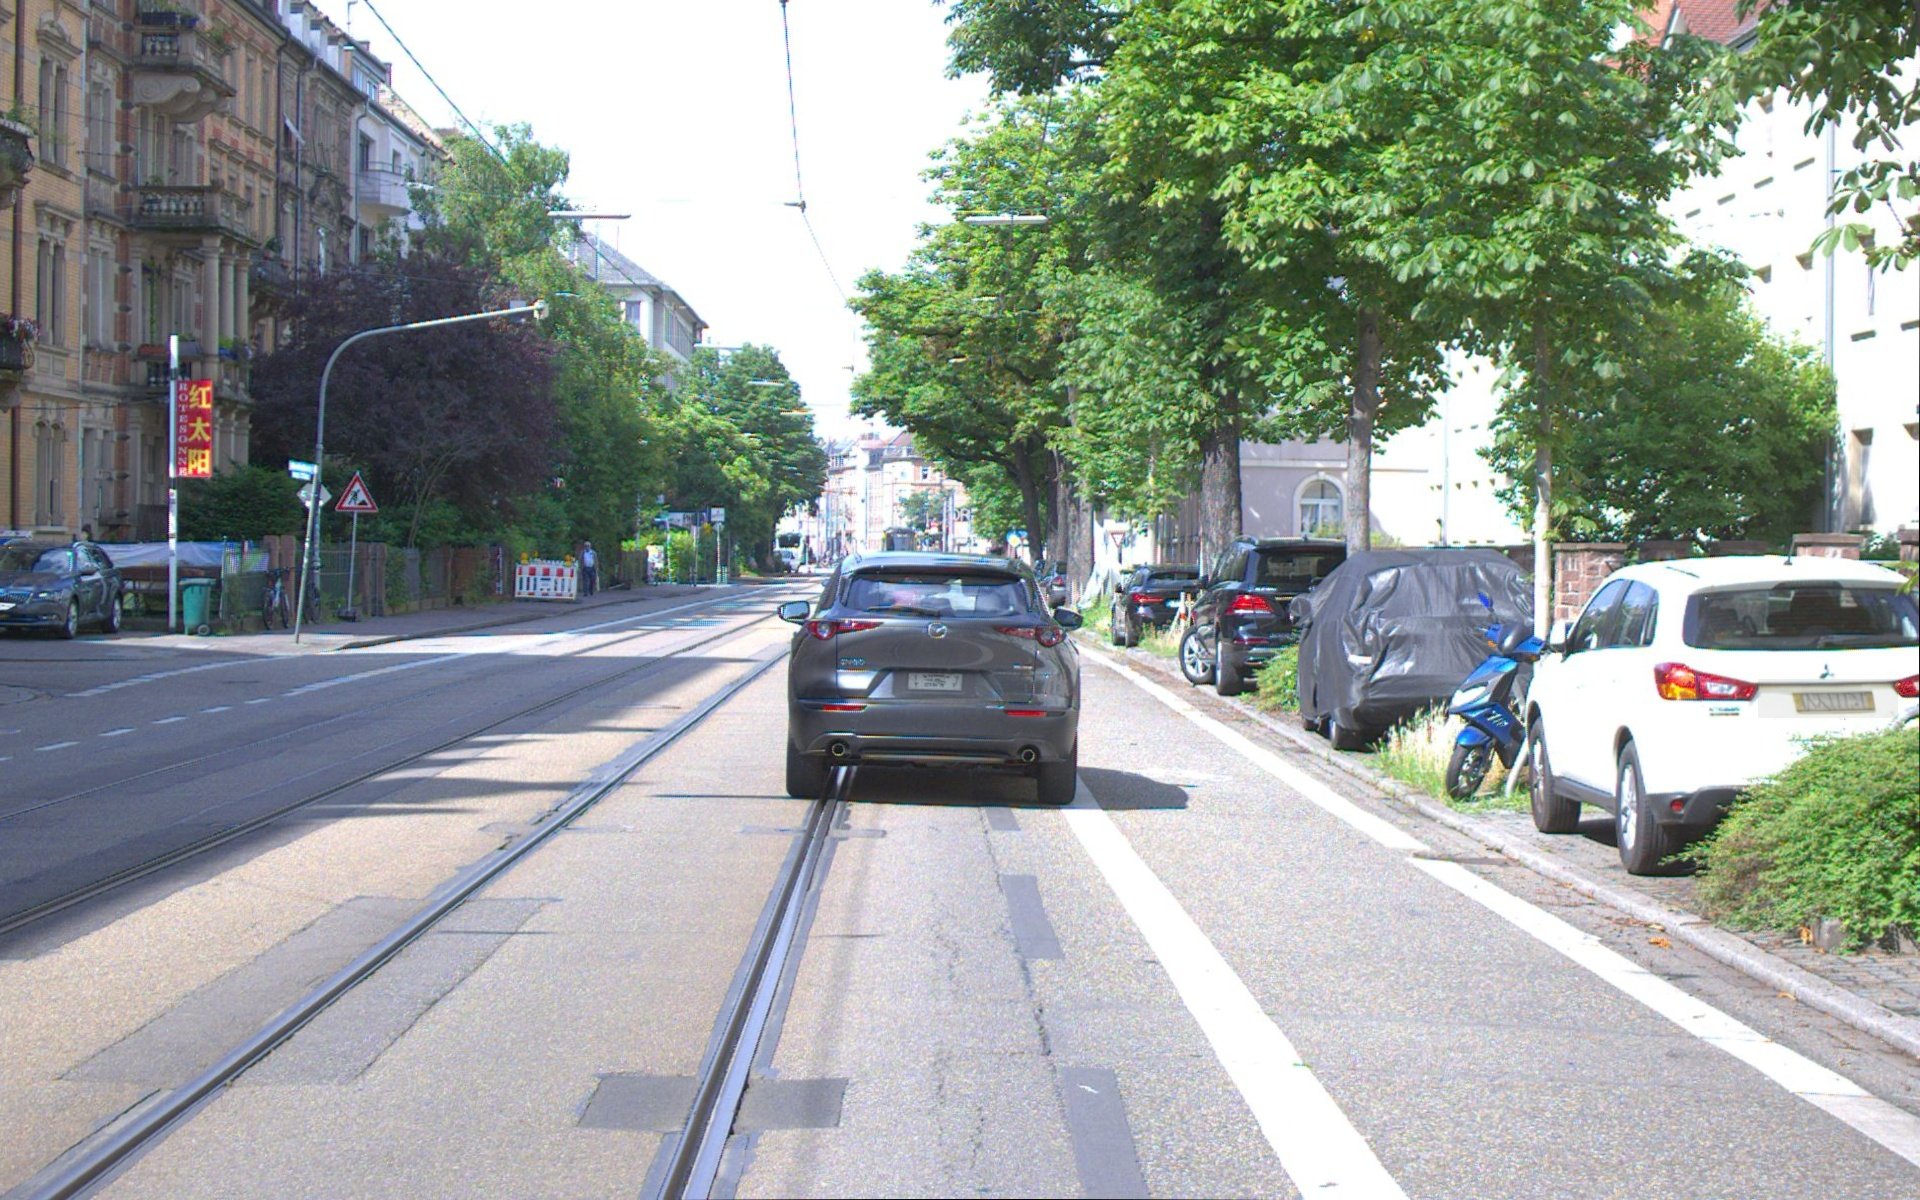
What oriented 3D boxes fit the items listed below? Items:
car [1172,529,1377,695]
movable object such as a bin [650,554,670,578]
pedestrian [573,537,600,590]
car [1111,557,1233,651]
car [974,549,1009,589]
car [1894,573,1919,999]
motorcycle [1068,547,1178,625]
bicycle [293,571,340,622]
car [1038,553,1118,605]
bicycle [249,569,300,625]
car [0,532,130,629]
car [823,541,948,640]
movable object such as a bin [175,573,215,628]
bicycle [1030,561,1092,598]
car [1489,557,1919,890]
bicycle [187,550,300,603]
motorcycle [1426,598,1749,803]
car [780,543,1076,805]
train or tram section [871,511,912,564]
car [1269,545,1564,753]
[{"bbox_3d":[3.543,0.083,39.525,1.827,1.776,4.733,1,1,-1],"label":"car"},{"bbox_3d":[-12.685,-1.446,145.394,0.745,0.984,1.114,3,0,-1],"label":"movable object such as a bin"},{"bbox_3d":[-12.137,-1.180,111.804,0.822,1.700,0.891,1,0,-4],"label":"pedestrian"},{"bbox_3d":[3.614,0.041,59.260,1.706,1.474,4.197,3,0,-1],"label":"car"},{"bbox_3d":[1.573,-1.564,173.456,1.720,1.962,4.207,1,1,0],"label":"car"},{"bbox_3d":[4.316,0.708,10.434,1.660,1.516,4.288,1,1,-2],"label":"car"},{"bbox_3d":[3.541,-0.310,74.981,2.385,1.592,0.677,4,2,38],"label":"motorcycle"},{"bbox_3d":[-12.091,-0.073,64.613,0.530,0.943,1.968,1,1,-1],"label":"bicycle"},{"bbox_3d":[3.322,-0.607,97.553,1.846,1.404,4.395,-1,1,-4],"label":"car"},{"bbox_3d":[-12.047,-0.063,60.424,0.530,0.943,1.968,1,1,-1],"label":"bicycle"},{"bbox_3d":[-14.459,-0.322,54.118,1.685,1.454,4.765,1,1,-1],"label":"car"},{"bbox_3d":[-1.264,-0.172,58.714,1.993,1.523,4.000,3,0,-1],"label":"car"},{"bbox_3d":[-12.560,0.005,56.429,0.525,0.902,0.636,0,1,-2],"label":"movable object such as a bin"},{"bbox_3d":[3.257,-0.647,110.647,1.938,1.172,0.513,0,0,11],"label":"bicycle"},{"bbox_3d":[4.151,0.576,18.746,1.742,1.575,4.249,1,1,-2],"label":"car"},{"bbox_3d":[-13.104,-0.428,62.933,1.961,0.943,0.532,1,1,-5],"label":"bicycle"},{"bbox_3d":[4.239,0.673,23.309,2.006,1.332,0.747,1,1,-4],"label":"motorcycle"},{"bbox_3d":[-0.218,0.416,22.064,1.720,1.521,3.590,1,1,-1],"label":"car"},{"bbox_3d":[-5.125,-4.594,254.004,2.571,3.760,13.027,1,1,-3],"label":"train or tram section"},{"bbox_3d":[3.898,0.365,30.113,1.862,1.647,4.638,1,1,-1],"label":"car"}]
